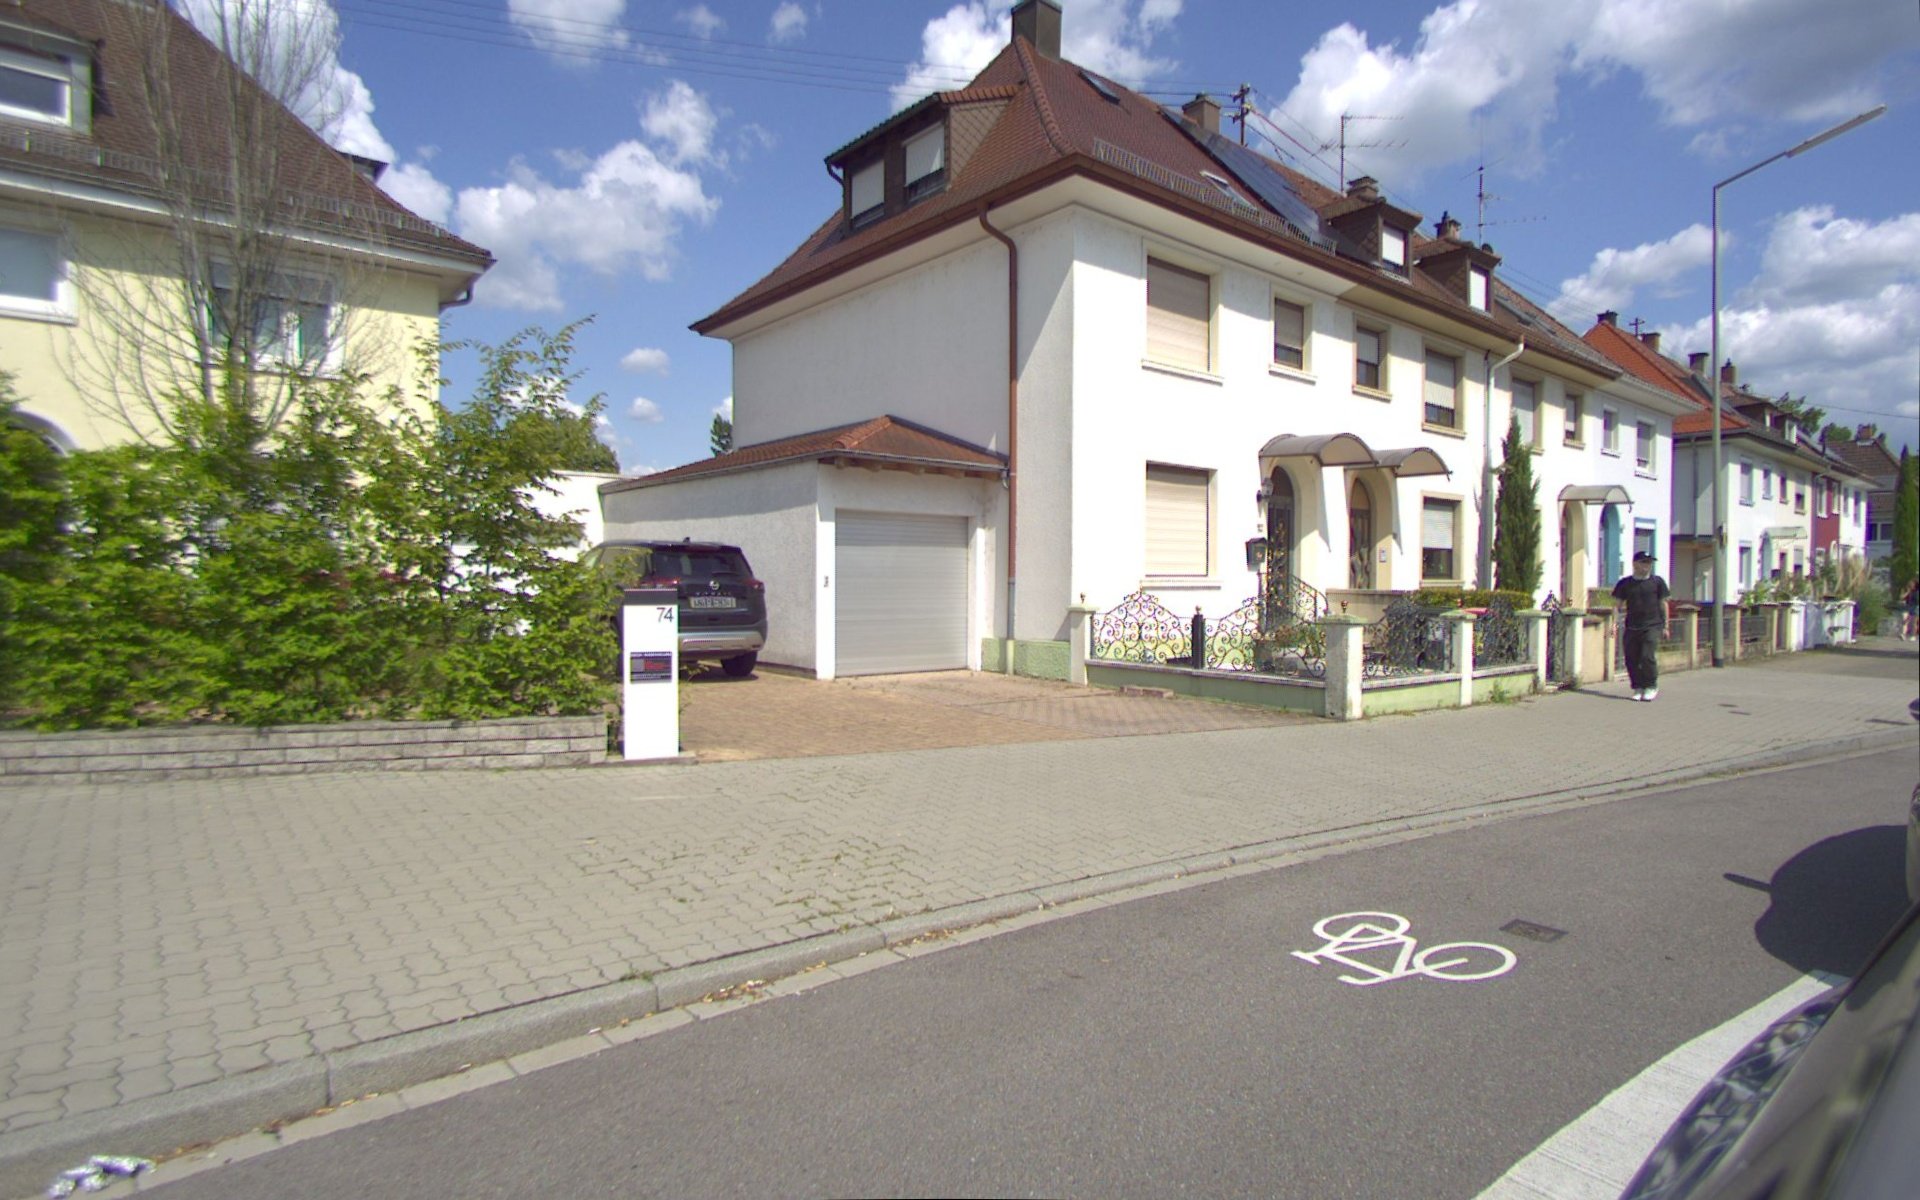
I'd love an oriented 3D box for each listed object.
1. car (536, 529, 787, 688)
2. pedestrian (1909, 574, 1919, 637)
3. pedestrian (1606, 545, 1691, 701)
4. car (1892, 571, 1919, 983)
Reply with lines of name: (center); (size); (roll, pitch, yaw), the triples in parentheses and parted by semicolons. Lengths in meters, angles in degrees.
car: (-4.015, 0.044, 13.185); (1.833, 1.729, 3.998); (0, 1, -37)
pedestrian: (26.538, 0.153, 27.857); (0.607, 1.732, 0.519); (0, 1, -39)
pedestrian: (8.262, 0.253, 12.136); (0.921, 1.790, 0.592); (0, 1, -41)
car: (5.714, 0.647, 4.618); (4.607, 1.492, 1.764); (0, 1, -43)
